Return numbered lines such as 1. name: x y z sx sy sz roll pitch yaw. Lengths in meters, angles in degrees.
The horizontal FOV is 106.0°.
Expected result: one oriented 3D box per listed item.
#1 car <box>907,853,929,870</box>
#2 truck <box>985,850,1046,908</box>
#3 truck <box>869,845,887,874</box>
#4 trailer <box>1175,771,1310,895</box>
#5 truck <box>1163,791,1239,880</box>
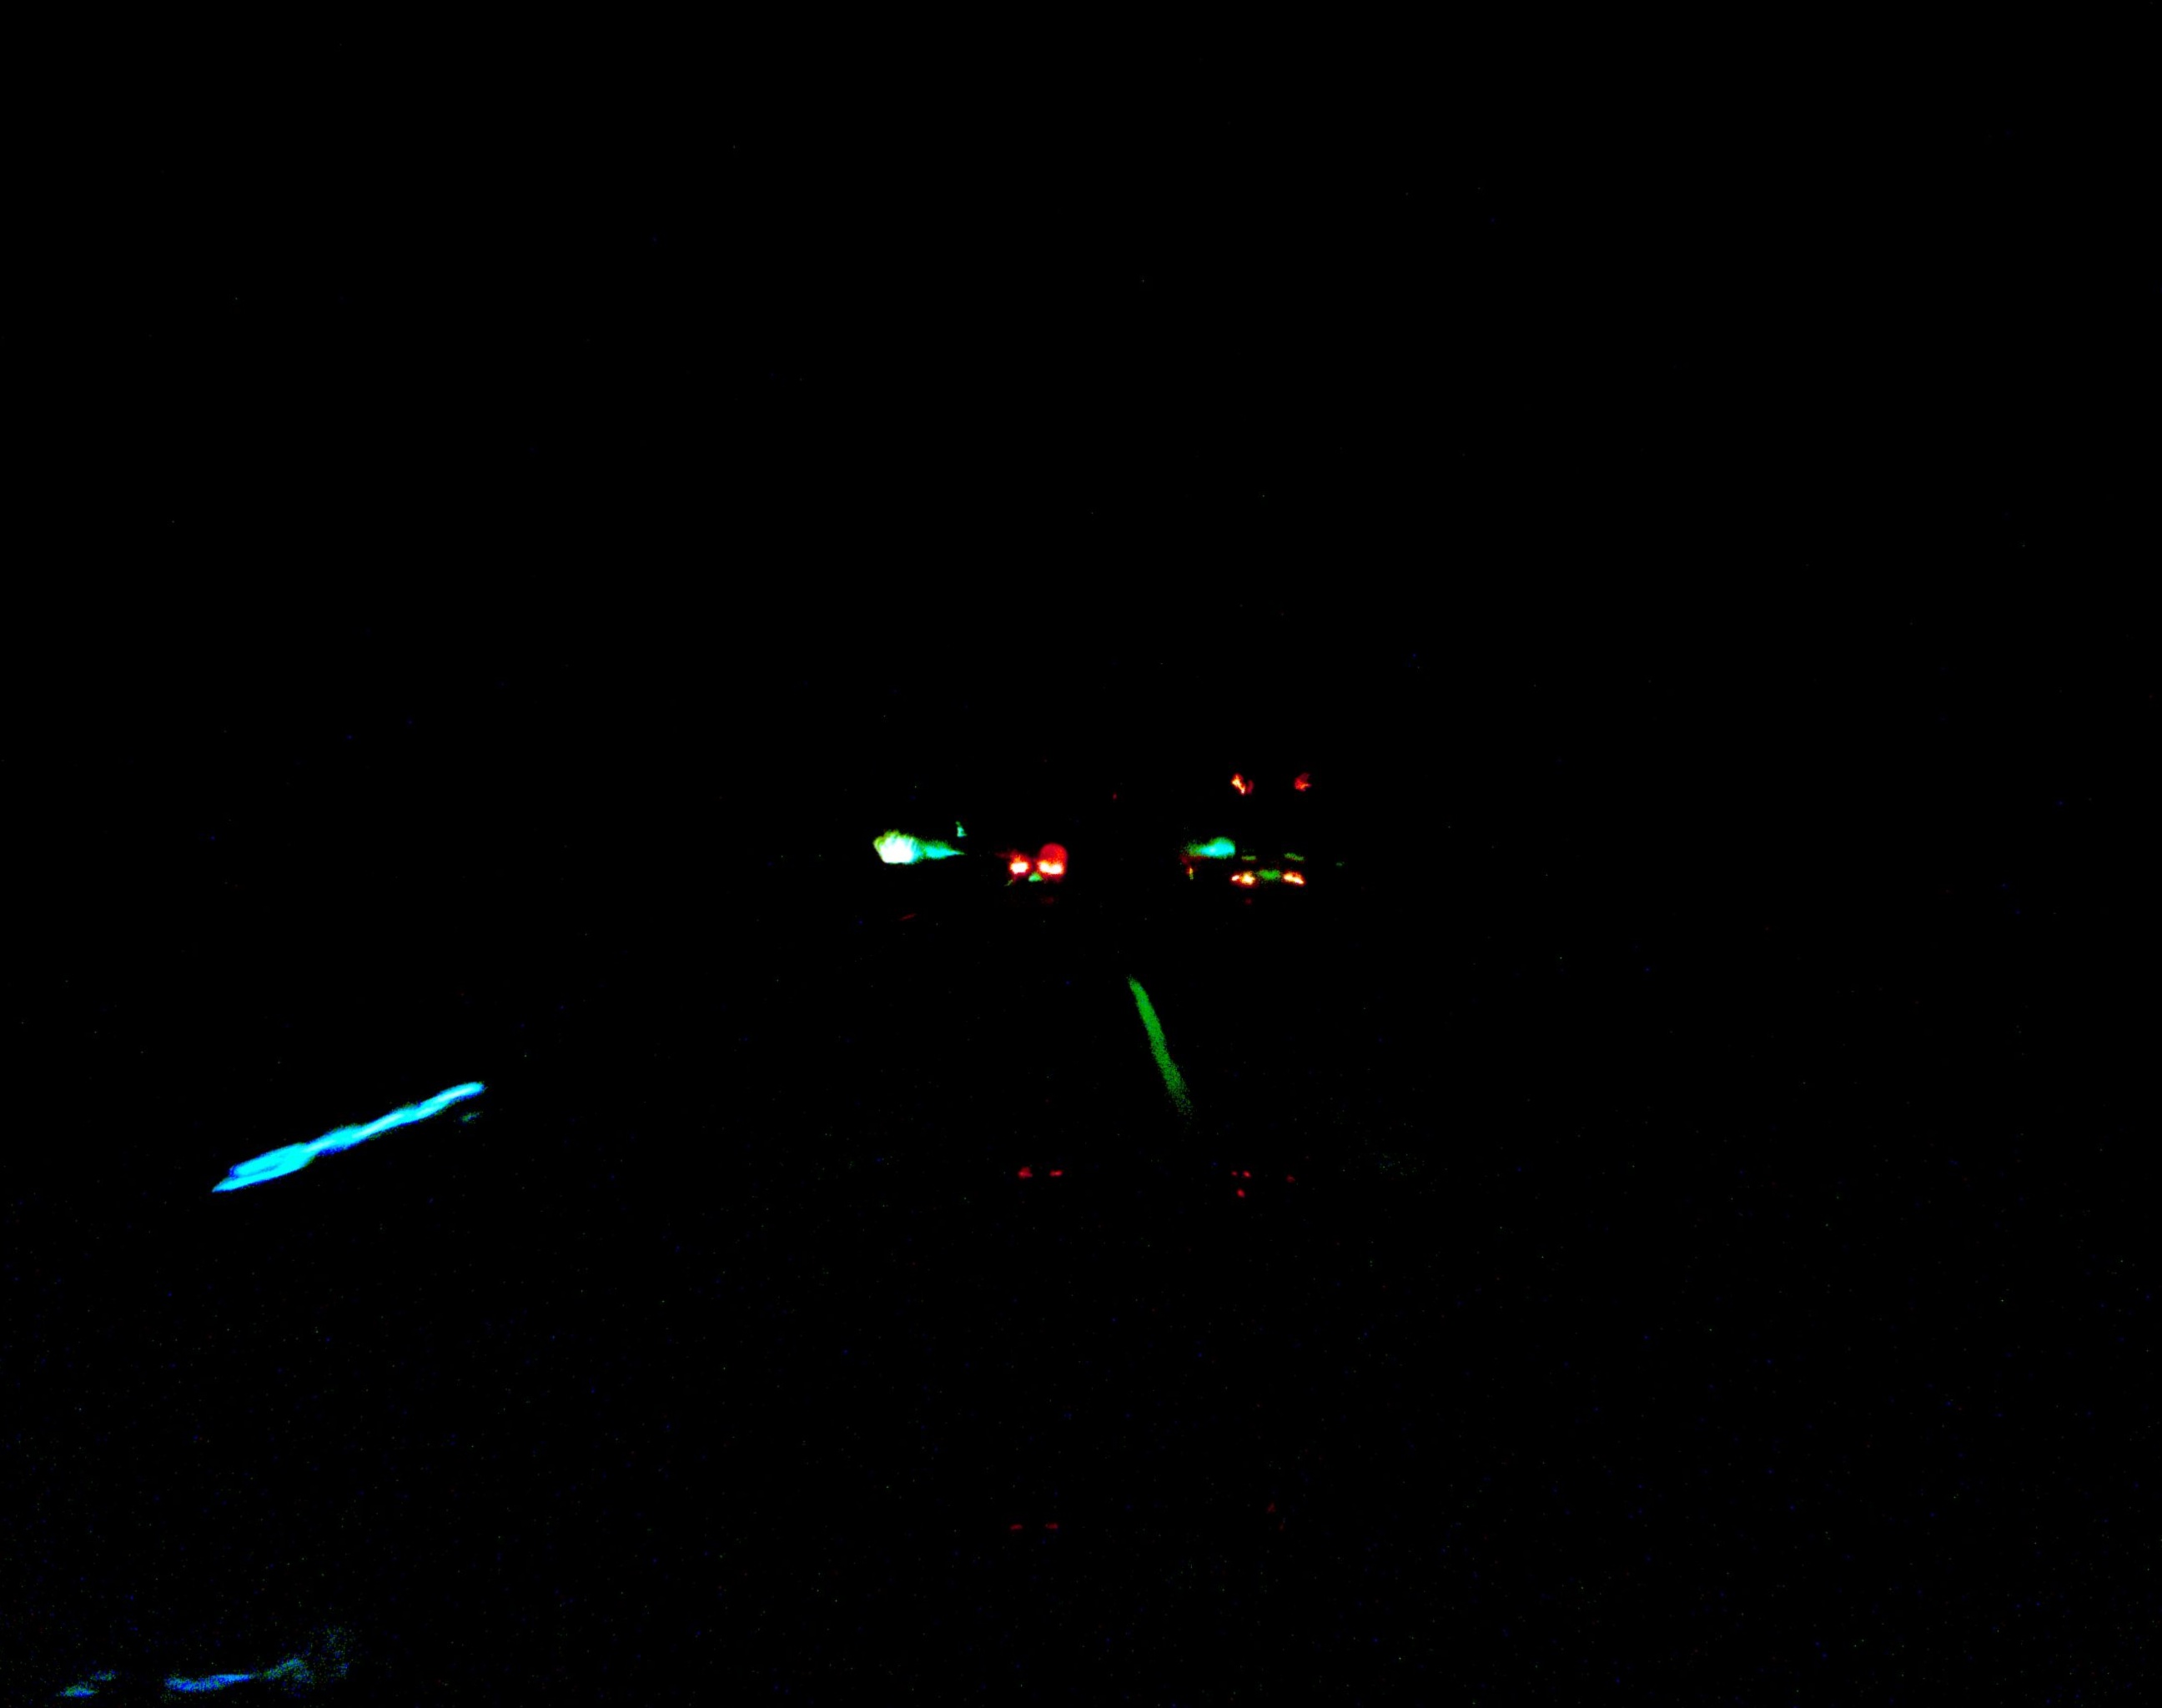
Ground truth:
1. car: -20.123 0.879 100.425 1.989 1.852 3.996 3 1 -3
2. truck: -2.748 0.962 35.583 2.139 2.077 6.600 3 1 -1
3. truck: -38.616 0.957 155.389 2.753 5.097 5.860 3 1 -11
4. trailer: 6.406 -0.748 35.133 2.731 4.248 13.363 -2 0 -1
5. truck: 6.041 -0.884 41.825 2.707 4.241 5.282 0 0 -6
